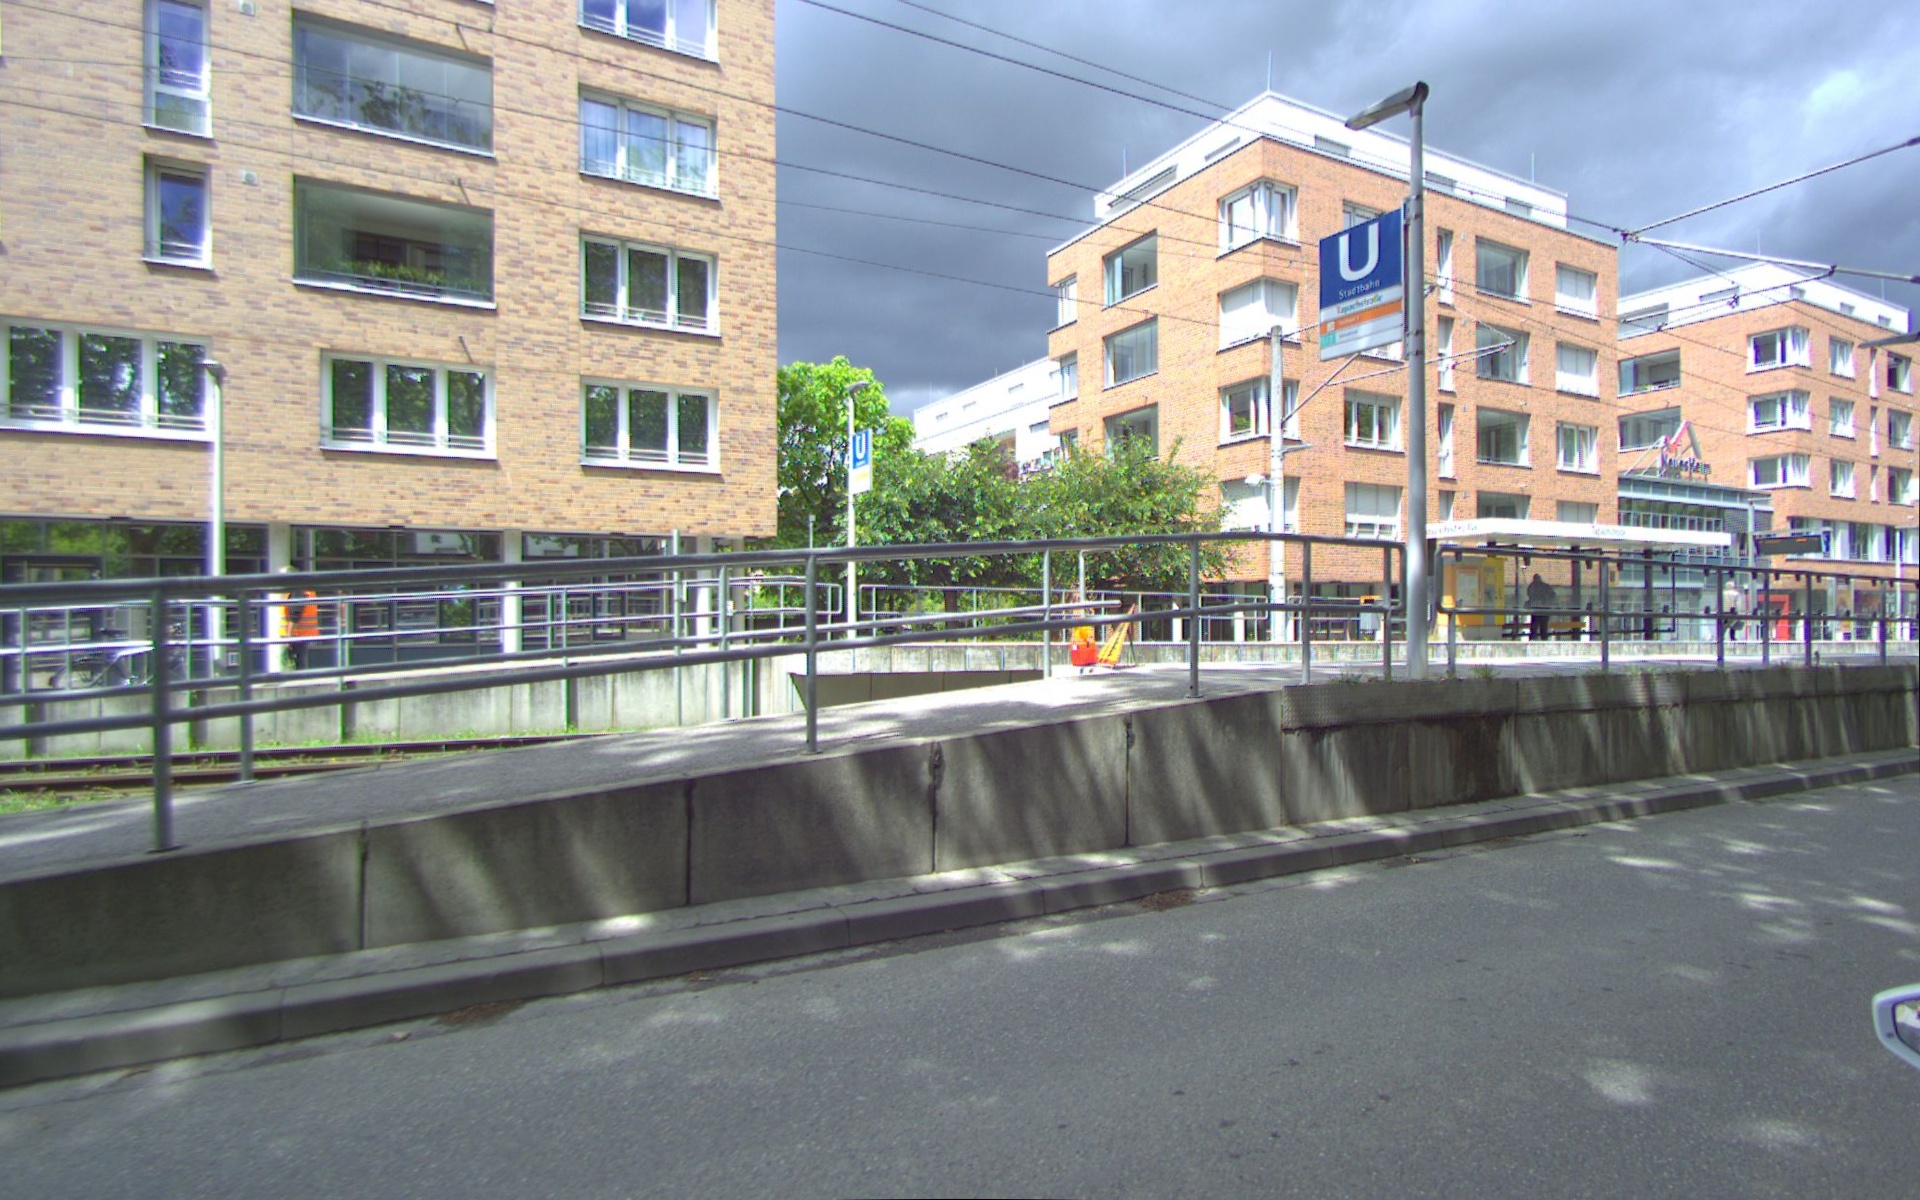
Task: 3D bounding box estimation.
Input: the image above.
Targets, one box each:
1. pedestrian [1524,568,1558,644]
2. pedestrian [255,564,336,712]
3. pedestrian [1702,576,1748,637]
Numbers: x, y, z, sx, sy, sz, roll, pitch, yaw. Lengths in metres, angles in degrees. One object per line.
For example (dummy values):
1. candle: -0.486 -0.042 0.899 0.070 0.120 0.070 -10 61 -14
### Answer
1. pedestrian: 13.818 0.157 23.894 0.522 1.787 0.531 1 -1 -32
2. pedestrian: -8.612 0.479 13.057 0.819 1.849 0.740 0 -1 -30
3. pedestrian: 21.122 0.186 27.743 0.806 1.650 0.748 1 0 -29
